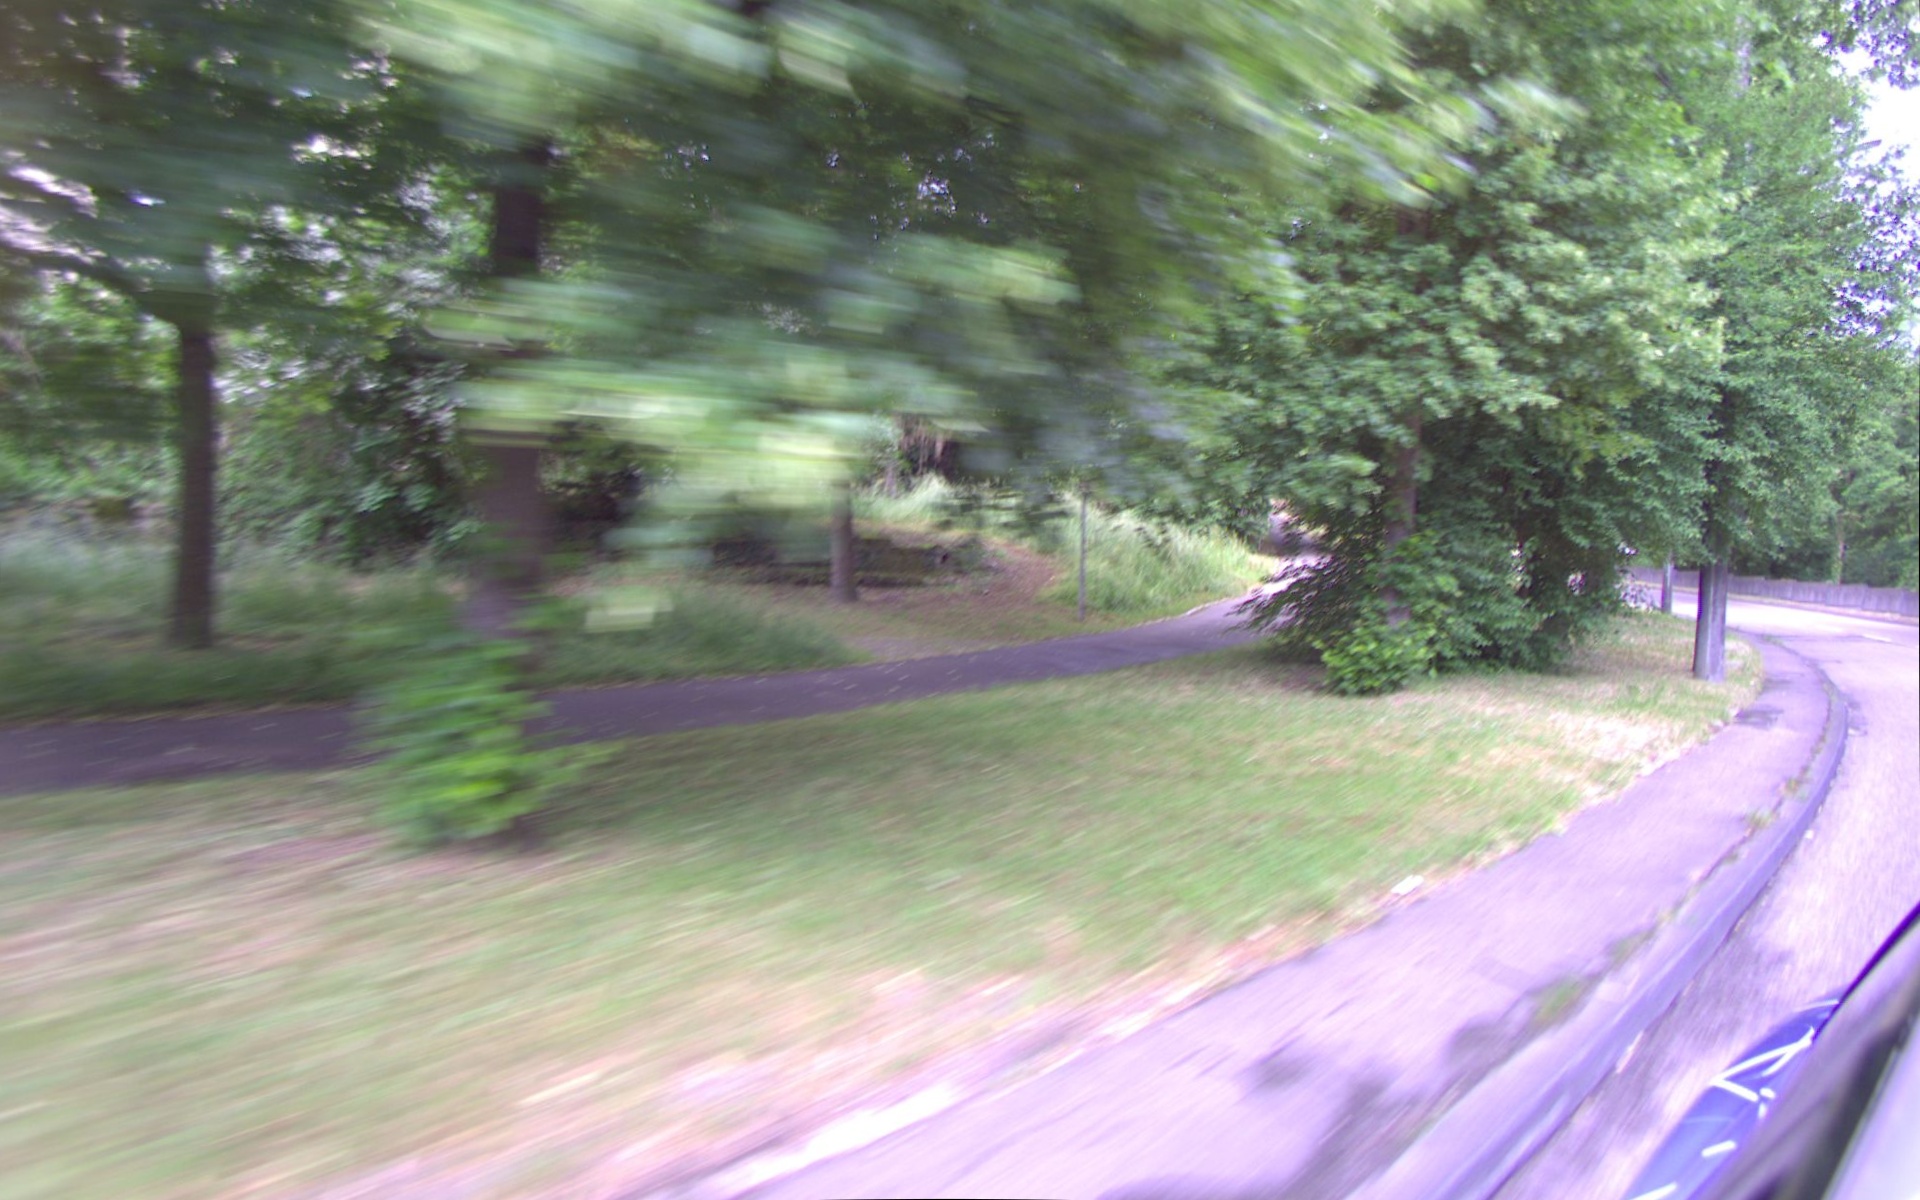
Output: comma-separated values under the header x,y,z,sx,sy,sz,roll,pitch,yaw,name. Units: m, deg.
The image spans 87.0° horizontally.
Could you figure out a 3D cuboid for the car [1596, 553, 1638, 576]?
x,y,z,sx,sy,sz,roll,pitch,yaw,name
50.482,-2.744,77.865,1.708,1.660,4.031,1,2,19,car
